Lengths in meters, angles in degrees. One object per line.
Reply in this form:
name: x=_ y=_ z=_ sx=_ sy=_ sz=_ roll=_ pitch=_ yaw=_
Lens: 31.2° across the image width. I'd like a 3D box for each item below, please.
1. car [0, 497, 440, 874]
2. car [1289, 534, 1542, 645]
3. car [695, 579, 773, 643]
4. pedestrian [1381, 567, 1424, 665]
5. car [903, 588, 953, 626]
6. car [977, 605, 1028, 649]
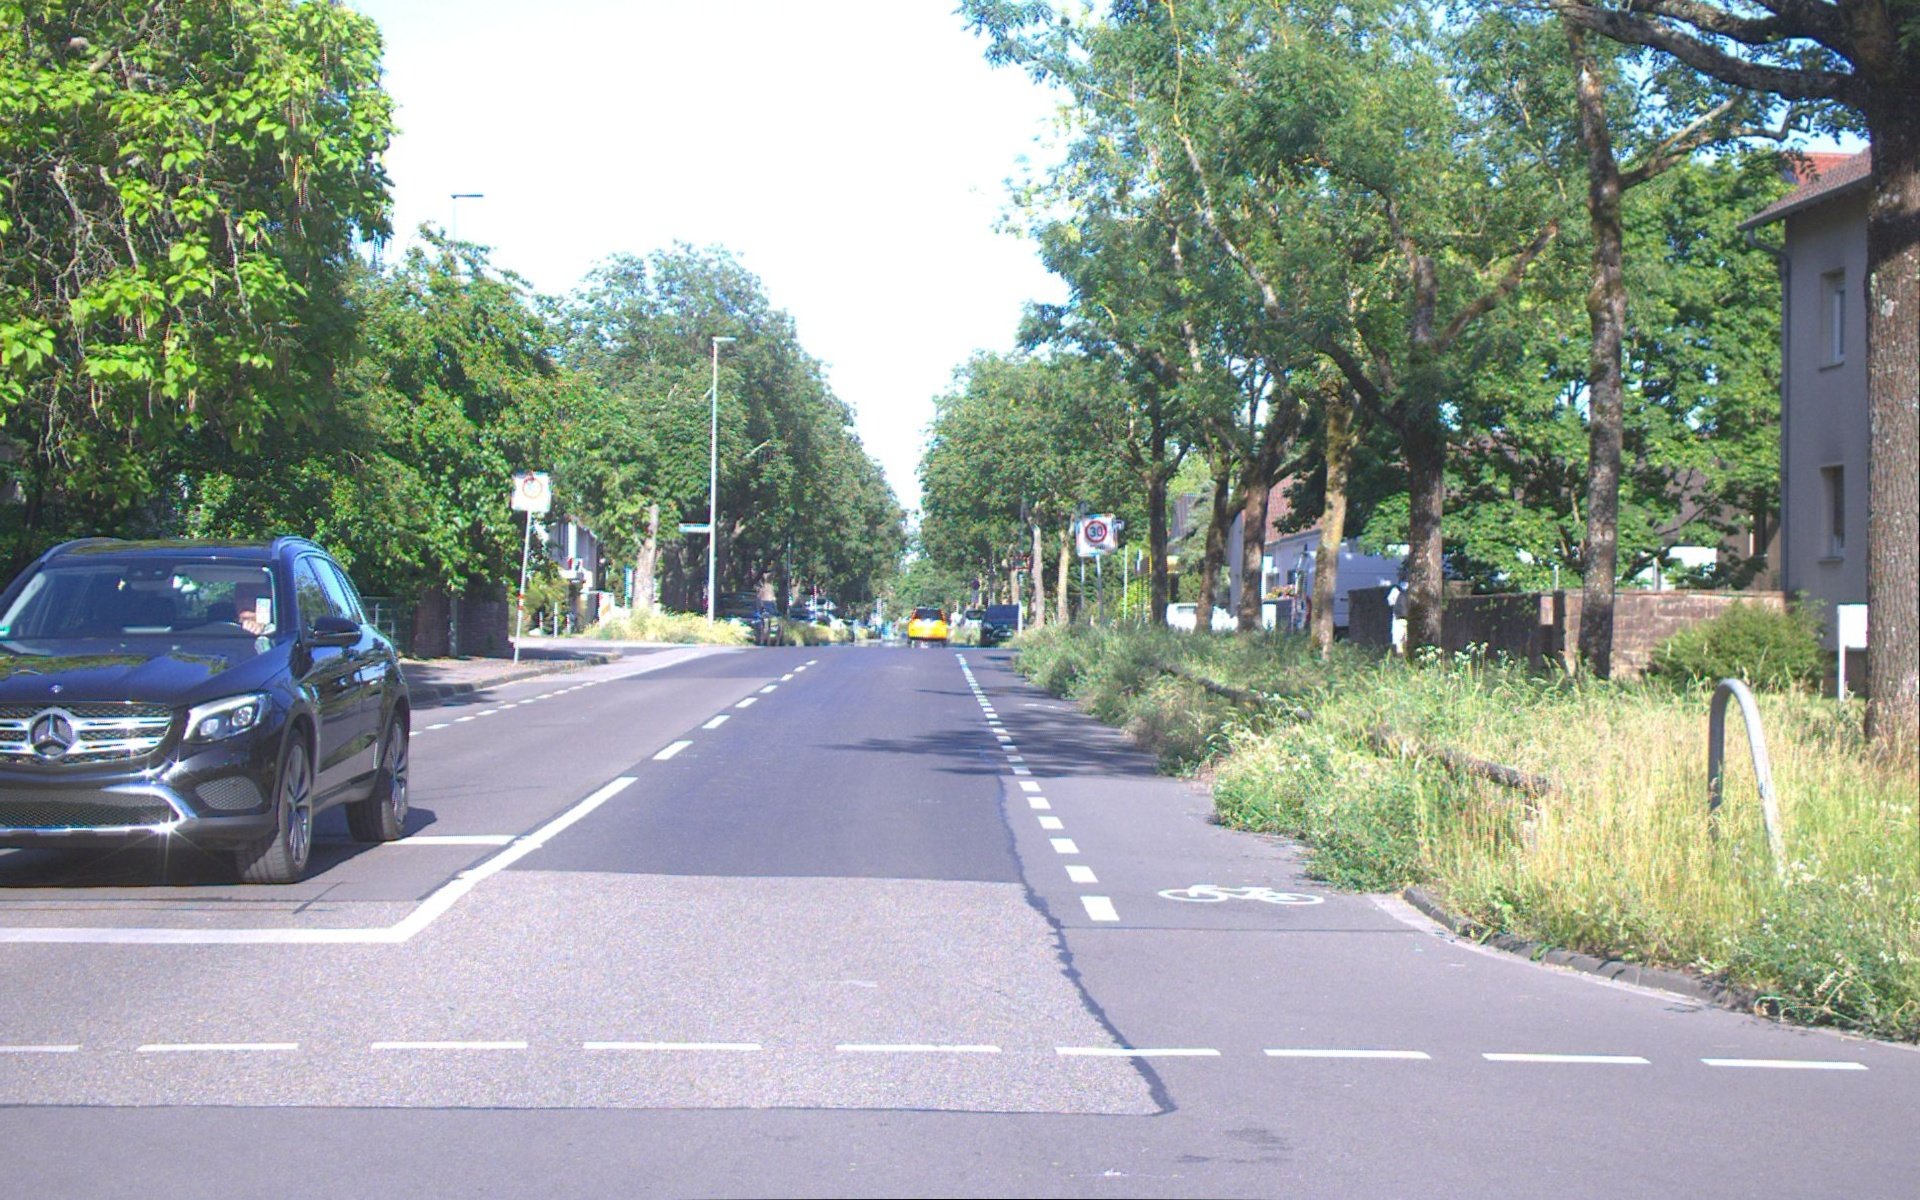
car: x=-3.906 y=0.360 z=17.022 sx=1.815 sy=1.612 sz=4.392 roll=-1 pitch=0 yaw=2
car: x=10.796 y=-0.242 z=81.770 sx=5.594 sy=2.530 sz=2.266 roll=1 pitch=0 yaw=-4
car: x=-6.848 y=0.353 z=104.472 sx=1.953 sy=1.721 sz=4.874 roll=2 pitch=-2 yaw=0
pedestrian: x=7.849 y=0.280 z=60.994 sx=0.637 sy=1.700 sz=0.612 roll=-2 pitch=1 yaw=-1
car: x=-1.396 y=0.300 z=147.157 sx=1.887 sy=1.474 sz=3.888 roll=3 pitch=-1 yaw=-3
car: x=1.626 y=1.043 z=132.782 sx=1.853 sy=1.620 sz=4.469 roll=0 pitch=-1 yaw=-1
